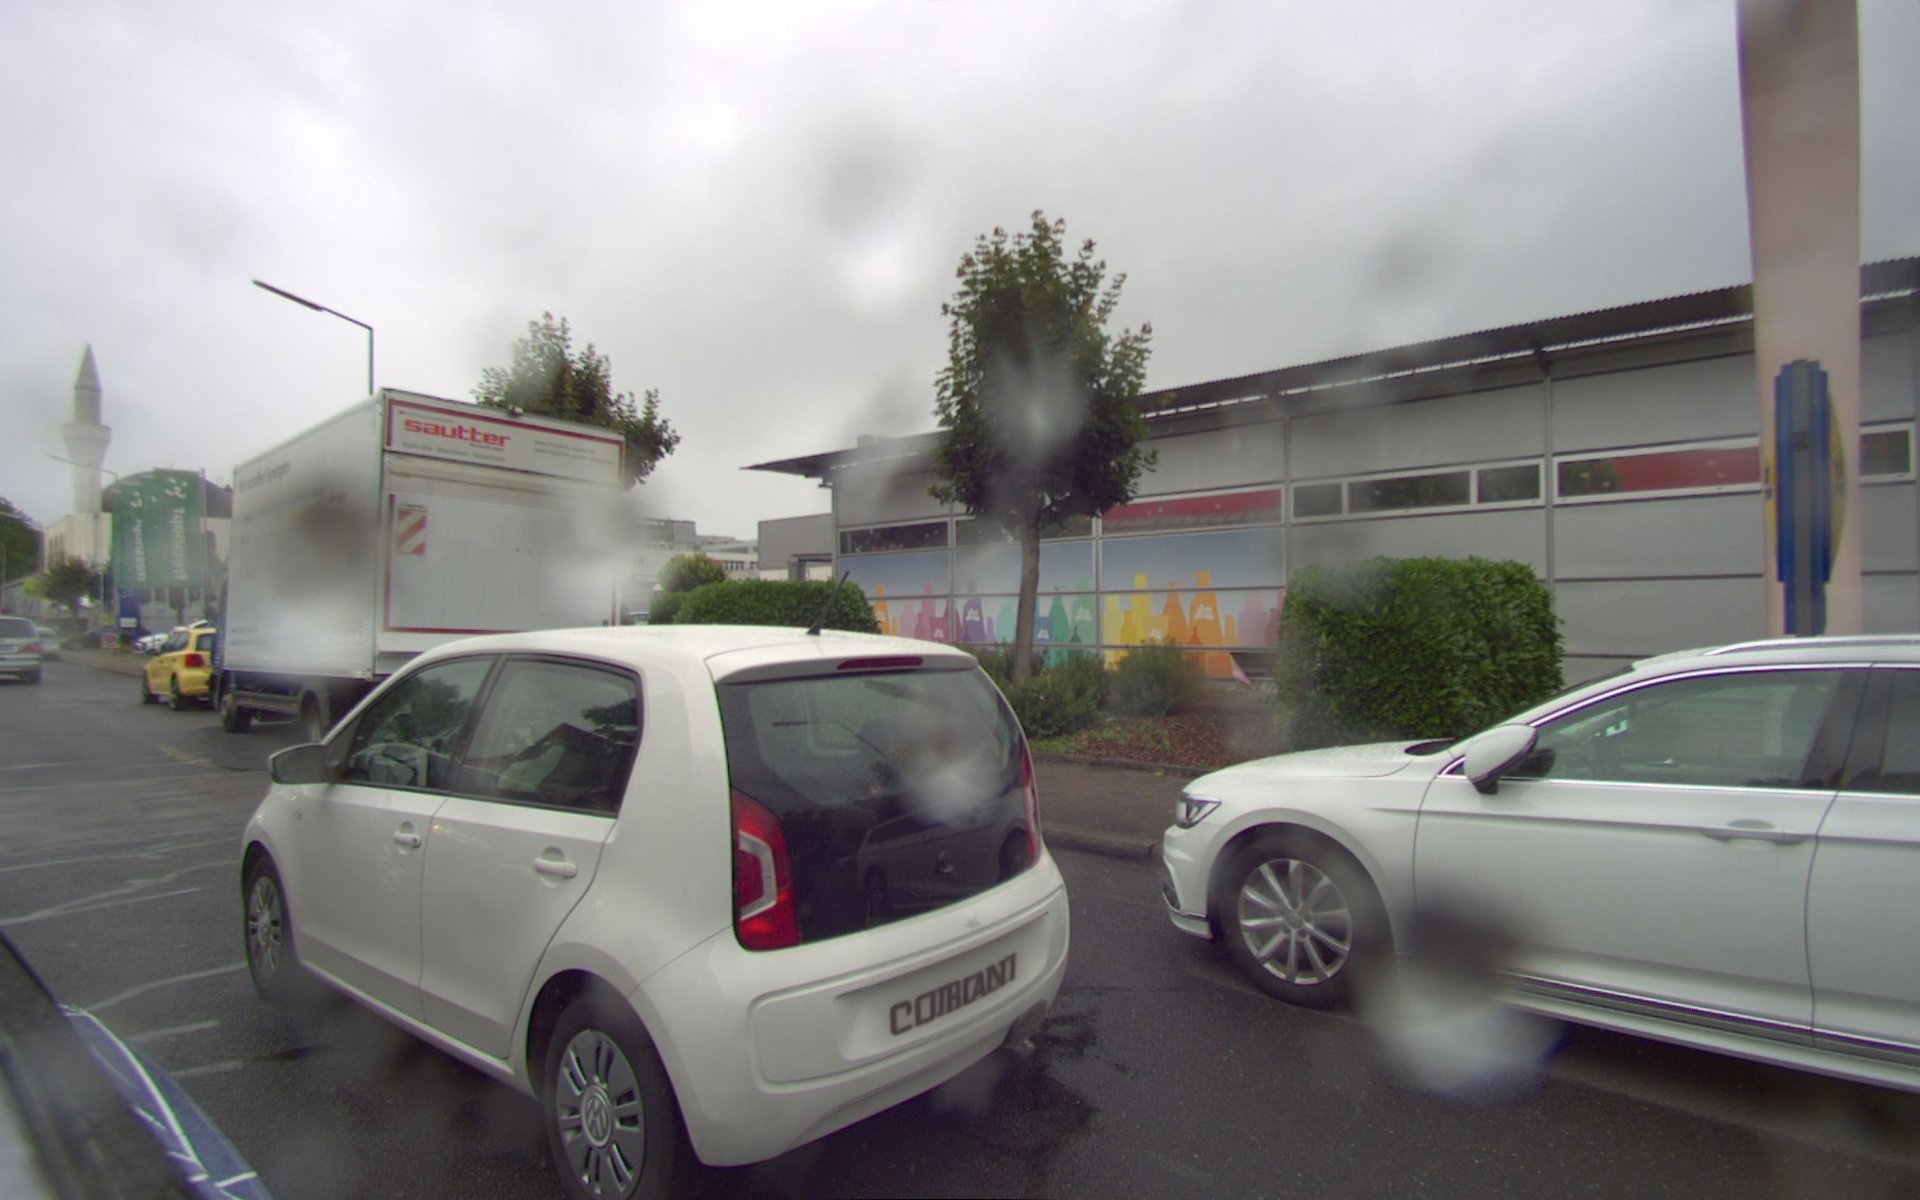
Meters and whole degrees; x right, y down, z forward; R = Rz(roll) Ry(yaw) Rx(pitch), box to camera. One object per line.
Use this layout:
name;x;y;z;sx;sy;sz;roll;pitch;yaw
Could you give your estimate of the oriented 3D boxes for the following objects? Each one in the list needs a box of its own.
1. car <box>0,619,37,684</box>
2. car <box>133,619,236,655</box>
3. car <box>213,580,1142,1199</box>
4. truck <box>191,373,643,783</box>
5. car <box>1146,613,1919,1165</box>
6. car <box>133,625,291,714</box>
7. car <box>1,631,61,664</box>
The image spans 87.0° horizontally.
car;-25.120;1.305;26.023;3.609;1.610;1.670;-2;-2;41
car;-36.186;1.691;47.282;1.691;1.610;3.564;-2;-2;39
car;-1.232;0.743;3.664;3.405;1.449;1.595;-1;-3;40
truck;-7.382;-0.117;13.068;7.869;3.775;2.850;-2;-2;44
car;3.039;0.789;3.434;4.492;1.445;1.815;-2;-3;43
car;-13.962;1.219;18.838;3.511;1.477;1.670;-2;-2;41
car;-40.665;2.049;44.278;3.609;1.351;1.559;-2;-2;41
